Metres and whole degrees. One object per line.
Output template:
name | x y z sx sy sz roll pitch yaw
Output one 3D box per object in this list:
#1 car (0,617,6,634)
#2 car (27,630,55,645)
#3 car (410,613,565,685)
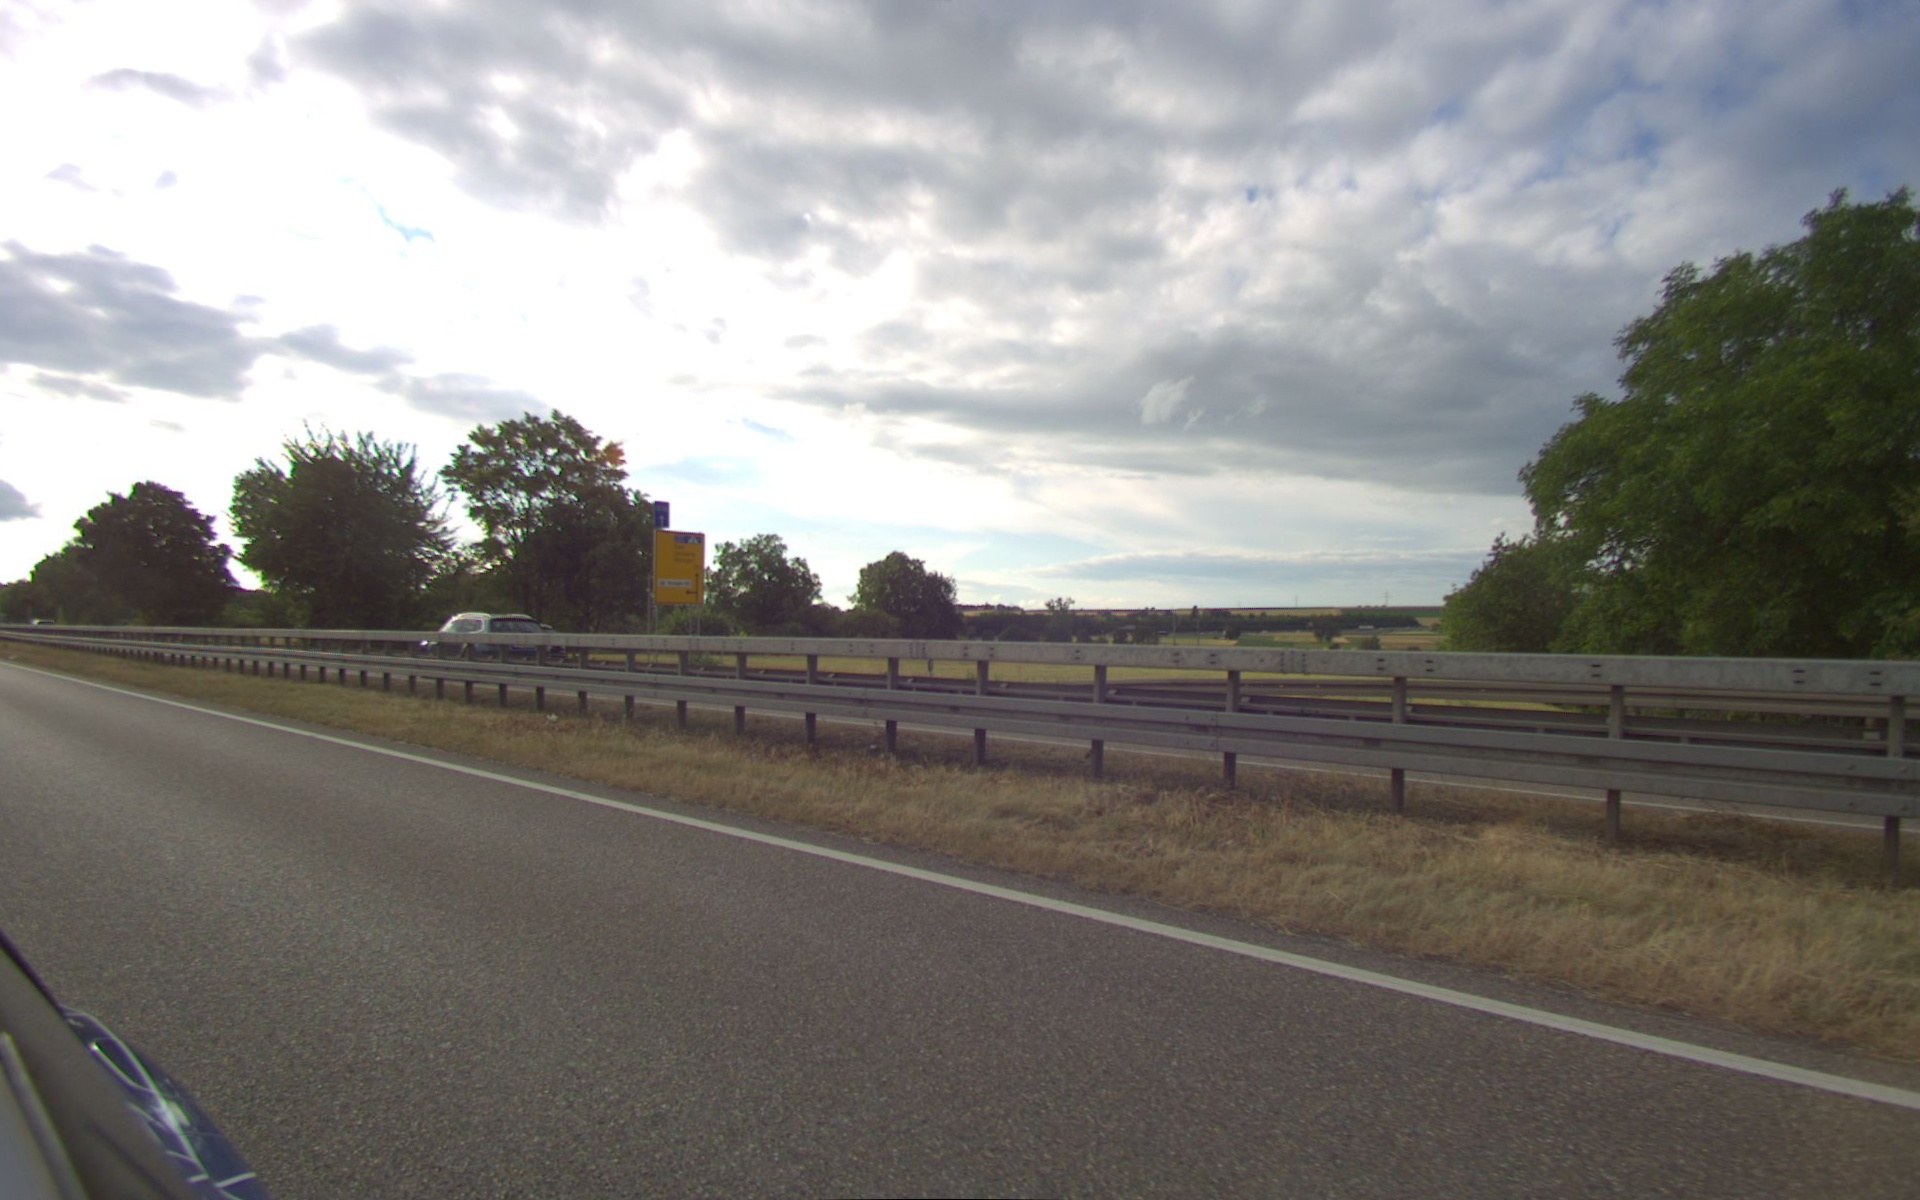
car | -94.315 2.494 98.313 4.374 1.648 1.912 -1 -2 41
car | -89.764 3.691 98.845 3.470 1.390 1.585 -1 -1 41
car | -11.682 1.180 24.902 4.374 1.627 1.779 -1 -4 41
